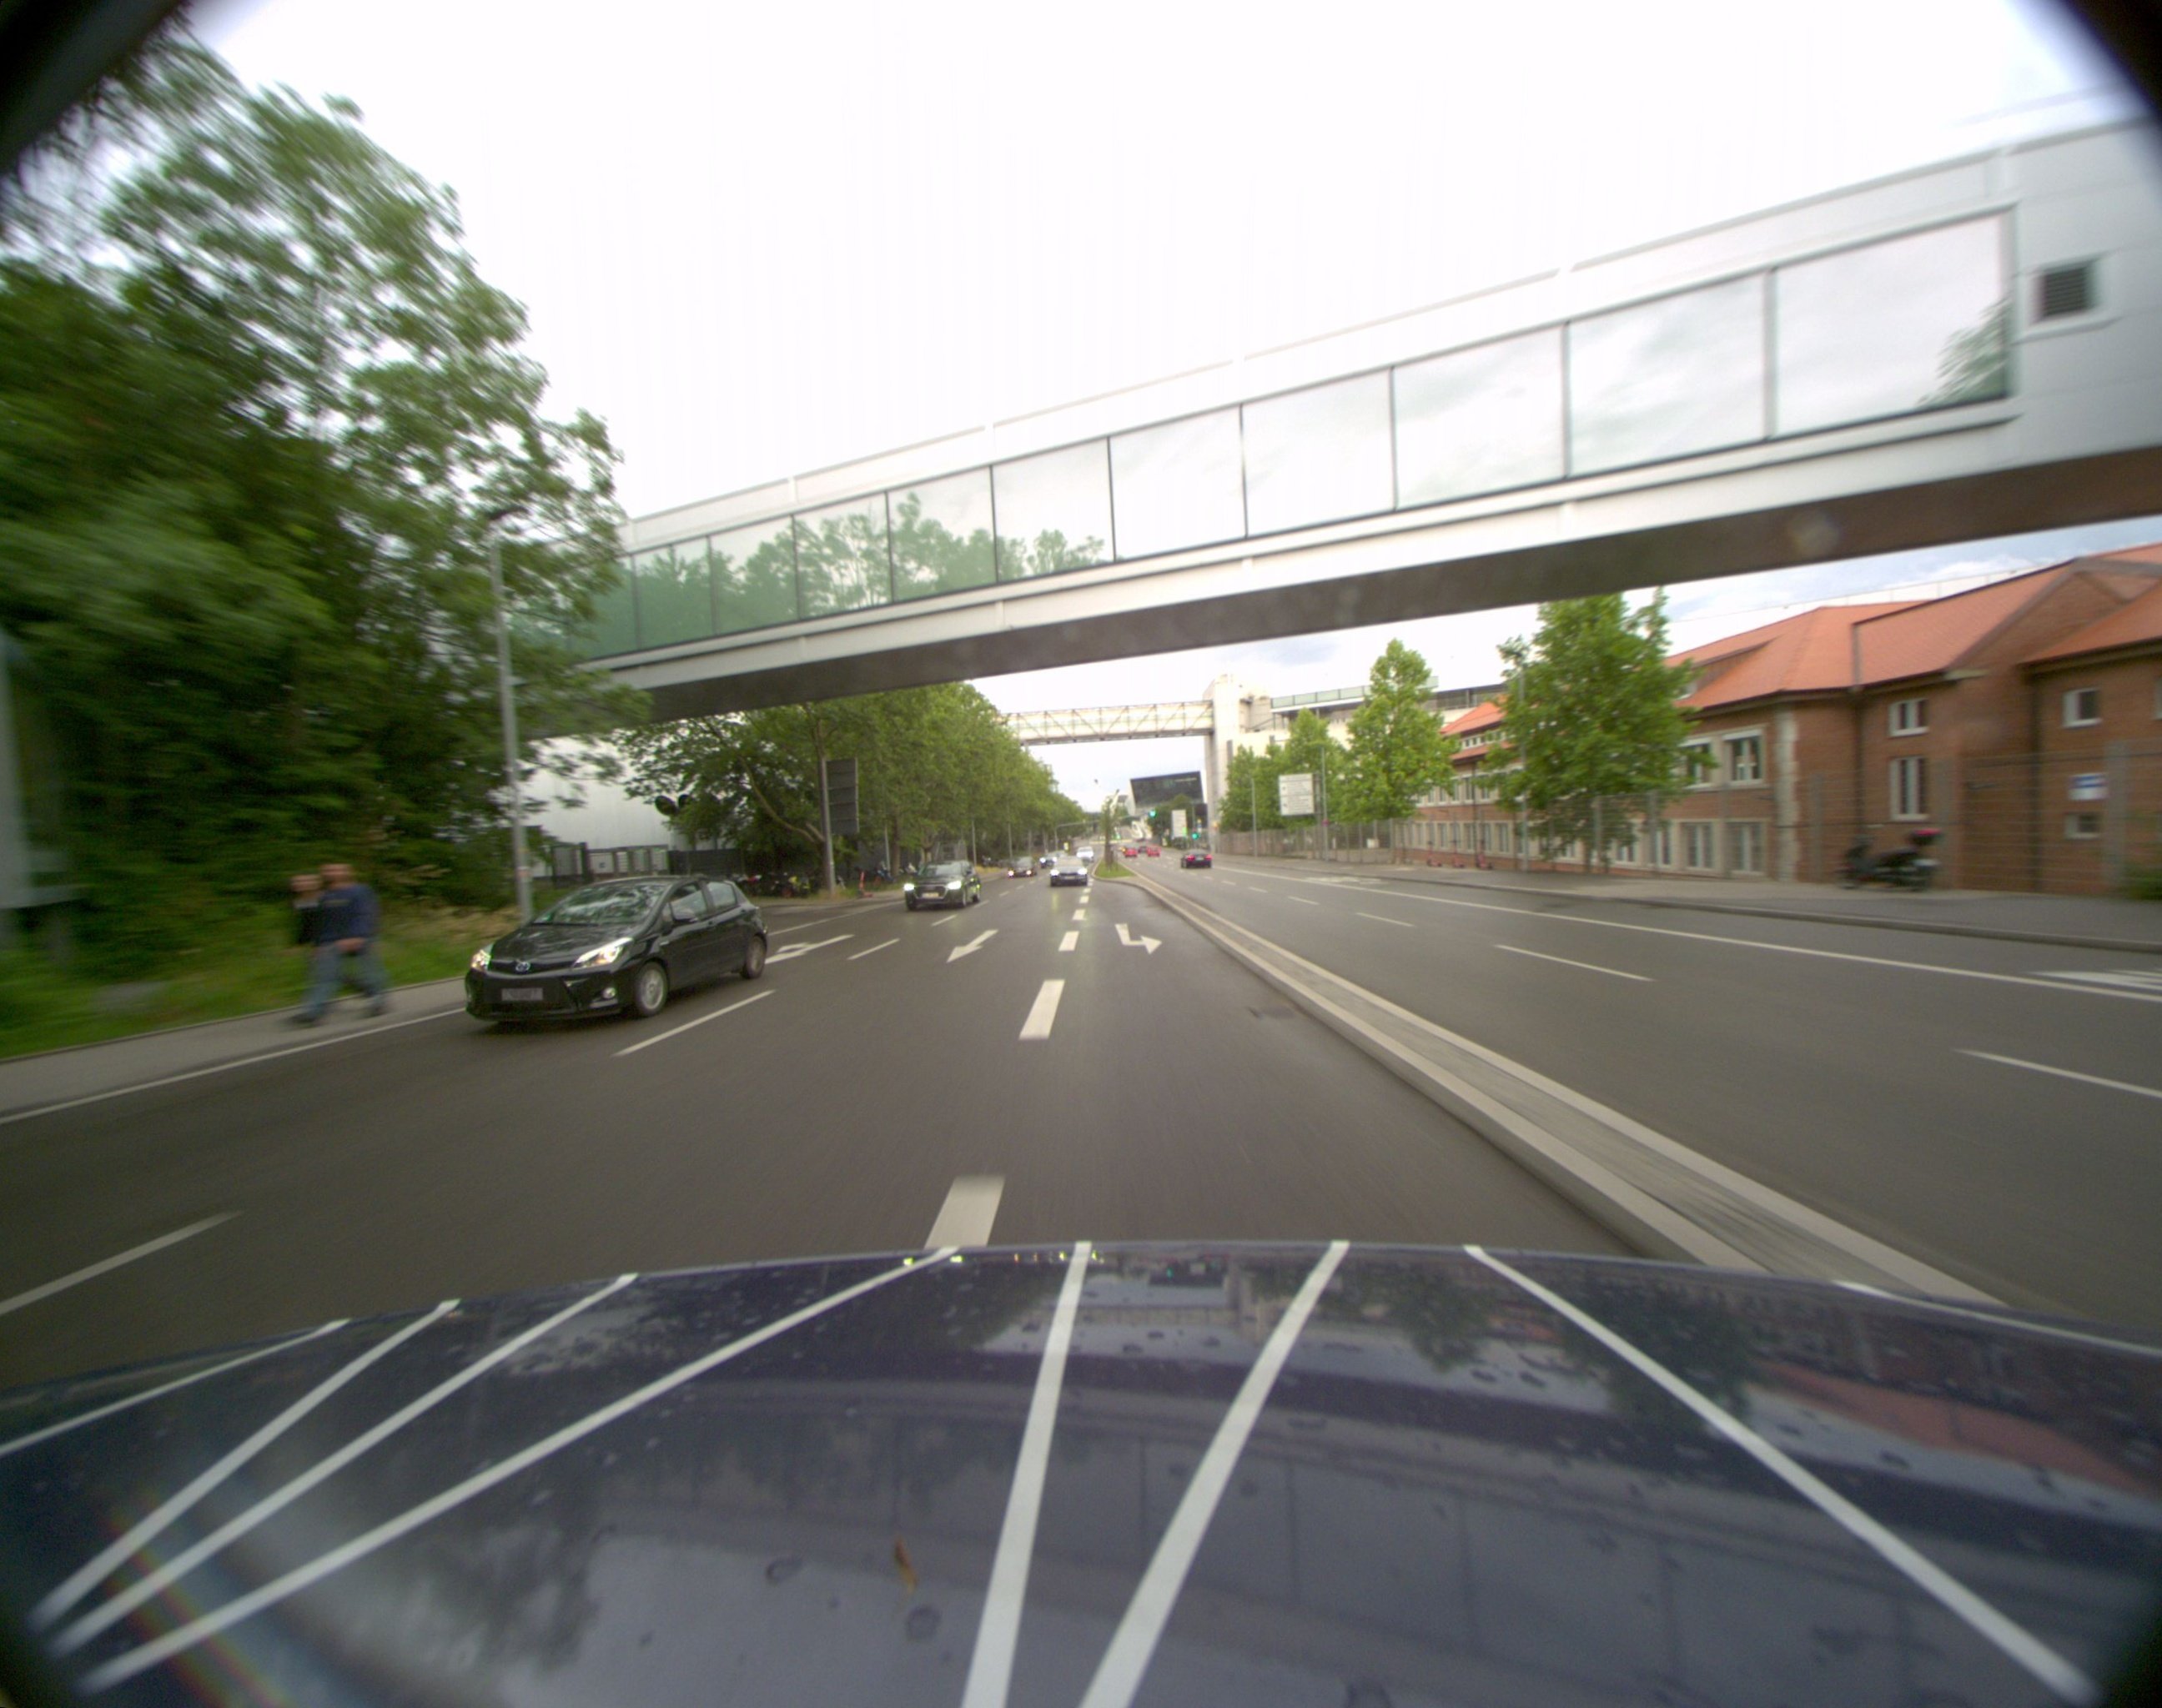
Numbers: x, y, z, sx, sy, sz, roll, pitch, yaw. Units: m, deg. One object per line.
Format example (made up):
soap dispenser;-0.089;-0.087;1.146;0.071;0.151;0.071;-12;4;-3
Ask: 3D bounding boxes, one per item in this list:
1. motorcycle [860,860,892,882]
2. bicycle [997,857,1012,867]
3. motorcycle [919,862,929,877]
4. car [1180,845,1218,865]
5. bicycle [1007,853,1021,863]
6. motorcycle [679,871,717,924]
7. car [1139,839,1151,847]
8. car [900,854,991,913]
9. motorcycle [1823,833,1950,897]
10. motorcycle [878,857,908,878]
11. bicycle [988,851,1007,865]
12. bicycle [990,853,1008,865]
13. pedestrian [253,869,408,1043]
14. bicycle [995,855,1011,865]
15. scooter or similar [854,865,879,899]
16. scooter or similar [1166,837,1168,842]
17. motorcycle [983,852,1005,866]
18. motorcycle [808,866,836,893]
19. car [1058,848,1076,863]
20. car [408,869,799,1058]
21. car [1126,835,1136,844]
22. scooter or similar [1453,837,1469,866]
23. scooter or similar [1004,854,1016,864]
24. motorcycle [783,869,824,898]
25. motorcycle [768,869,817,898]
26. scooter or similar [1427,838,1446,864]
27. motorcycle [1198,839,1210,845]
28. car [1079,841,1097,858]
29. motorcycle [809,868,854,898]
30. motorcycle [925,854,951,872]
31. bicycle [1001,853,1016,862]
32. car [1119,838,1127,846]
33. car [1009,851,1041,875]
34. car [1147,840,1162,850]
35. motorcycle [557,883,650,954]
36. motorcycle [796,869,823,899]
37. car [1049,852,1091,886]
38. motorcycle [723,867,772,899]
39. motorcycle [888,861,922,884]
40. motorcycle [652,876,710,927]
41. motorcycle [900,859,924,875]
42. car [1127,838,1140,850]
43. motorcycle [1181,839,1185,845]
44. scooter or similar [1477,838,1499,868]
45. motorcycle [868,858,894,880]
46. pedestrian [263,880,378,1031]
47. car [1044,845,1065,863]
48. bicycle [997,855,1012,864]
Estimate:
motorcycle;-13.756;1.141;50.942;1.918;1.250;0.491;-5;2;8
bicycle;-8.333;0.862;82.817;1.555;0.953;0.393;-2;2;2
motorcycle;-12.483;1.216;60.548;0.478;1.139;1.894;-6;2;-18
car;8.805;0.022;57.168;2.069;1.354;4.756;-3;1;0
bicycle;-7.513;0.426;85.118;1.555;0.999;0.393;-2;2;2
motorcycle;-9.542;1.054;18.991;0.471;1.206;1.941;-3;1;-17
car;11.560;-1.955;137.666;1.777;1.396;4.614;-2;1;2
car;-4.442;0.898;25.773;1.819;1.536;5.607;-4;2;2
motorcycle;16.271;0.199;15.424;0.470;1.198;1.996;-3;0;2
motorcycle;-13.527;0.970;54.800;1.933;1.357;0.506;-5;2;-3
bicycle;-8.508;0.428;77.143;1.864;1.340;0.447;-3;2;-10
bicycle;-8.489;0.491;79.030;1.793;1.160;0.447;-3;2;-4
pedestrian;-7.952;1.041;8.091;0.612;1.711;0.892;-2;1;12
bicycle;-8.360;0.637;81.344;1.555;0.999;0.393;-2;2;2
scooter or similar;-8.622;1.118;30.578;0.312;1.291;1.308;-3;2;13
scooter or similar;20.317;-3.424;180.110;0.394;1.123;1.568;-2;2;3
motorcycle;-8.398;0.523;73.400;2.011;1.266;0.442;-2;2;14
motorcycle;-13.342;1.312;39.188;0.647;1.272;1.991;-3;1;2
car;-1.651;0.173;90.803;1.819;1.571;4.331;-4;2;2
car;-5.386;1.088;9.524;1.749;1.462;4.640;-4;2;2
car;8.983;-2.634;136.995;1.581;1.396;4.111;-2;1;2
scooter or similar;16.873;-0.121;33.763;0.312;1.211;1.309;-2;1;14
scooter or similar;-7.471;0.530;80.276;1.216;1.085;0.312;-2;2;-2
motorcycle;-13.215;1.403;36.261;0.520;1.272;1.857;-2;1;33
motorcycle;-14.028;1.422;37.046;0.520;1.272;2.284;-2;2;33
scooter or similar;16.966;-0.165;36.262;0.312;1.211;1.308;-3;1;2
motorcycle;21.705;-2.094;134.117;0.628;1.021;2.165;-4;2;-33
car;0.899;-0.558;92.401;2.035;1.920;4.331;-4;2;2
motorcycle;-11.453;1.325;34.964;1.855;1.245;0.629;-3;1;-13
motorcycle;-10.121;0.643;53.787;1.656;1.144;0.493;-5;2;10
bicycle;-8.276;0.397;86.927;1.611;0.934;0.387;-2;2;2
car;9.170;-2.569;166.563;1.775;1.581;4.485;-2;2;4
car;-4.010;0.631;54.934;1.749;1.422;4.516;-4;2;2
car;10.568;-1.331;109.378;1.719;1.429;3.771;-1;1;1
motorcycle;-8.862;1.162;14.188;0.470;1.130;1.819;-3;1;1
motorcycle;-11.899;1.301;33.269;0.631;1.245;1.850;-4;1;-33
car;-0.487;0.689;37.778;1.819;1.536;4.064;-2;0;2
motorcycle;-14.526;1.247;33.134;0.348;1.272;2.074;-2;1;30
motorcycle;-10.142;1.074;43.806;1.855;1.184;0.521;-3;1;-13
motorcycle;-10.809;1.269;20.507;1.939;1.290;0.548;-2;2;37
motorcycle;-13.142;1.017;59.001;1.641;1.139;0.560;-5;2;13
car;7.376;-1.428;106.800;1.589;1.596;3.855;-1;1;2
motorcycle;19.492;-2.298;145.228;0.569;1.156;2.038;-2;2;1
scooter or similar;16.786;-0.051;31.345;0.312;1.211;1.308;-2;1;7
motorcycle;-13.914;1.053;52.870;1.502;1.357;0.506;-5;2;-3
pedestrian;-8.511;1.116;8.518;0.651;1.587;0.579;-2;1;13
car;-2.734;-0.021;78.710;1.825;1.581;4.331;-4;2;2
bicycle;-8.378;0.612;83.227;1.555;0.953;0.393;-2;2;2
